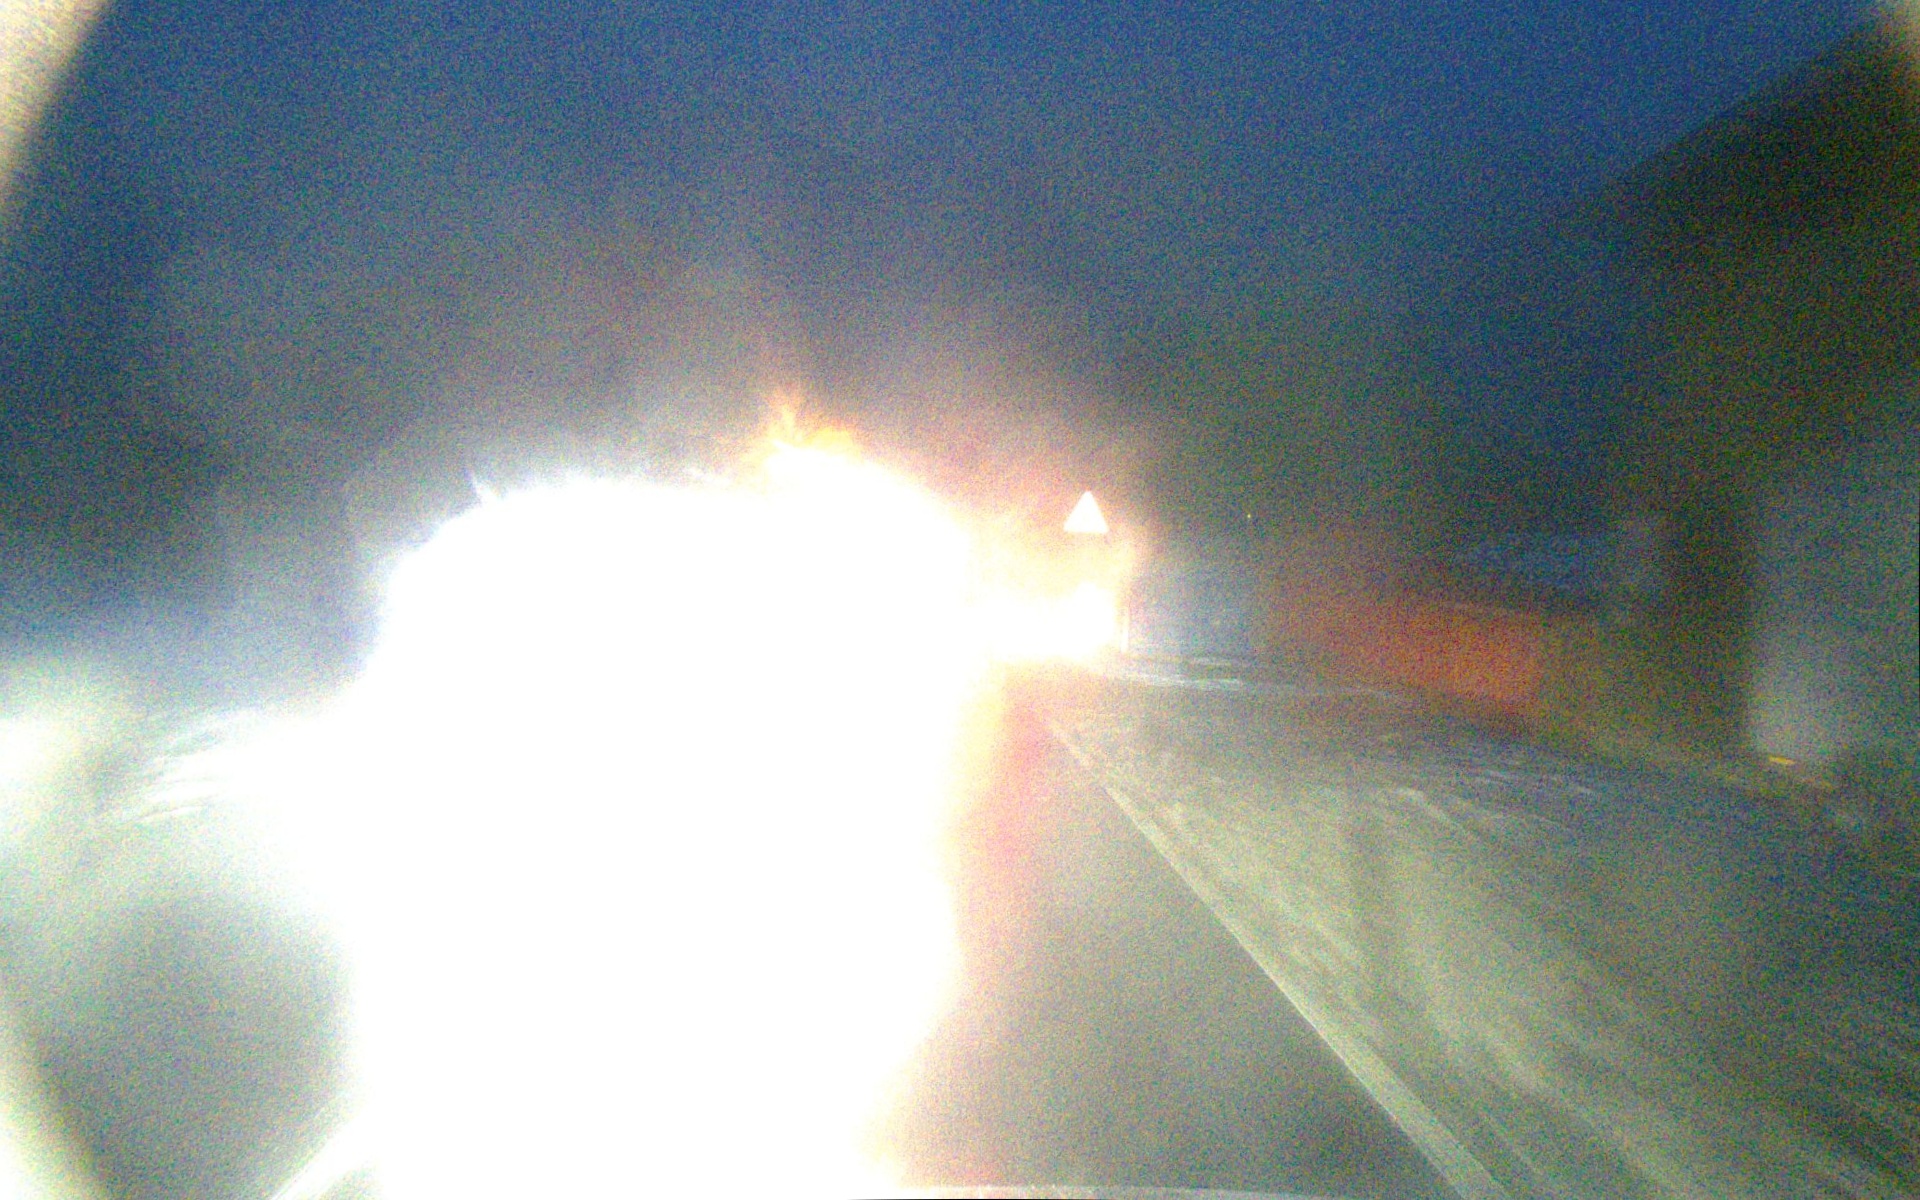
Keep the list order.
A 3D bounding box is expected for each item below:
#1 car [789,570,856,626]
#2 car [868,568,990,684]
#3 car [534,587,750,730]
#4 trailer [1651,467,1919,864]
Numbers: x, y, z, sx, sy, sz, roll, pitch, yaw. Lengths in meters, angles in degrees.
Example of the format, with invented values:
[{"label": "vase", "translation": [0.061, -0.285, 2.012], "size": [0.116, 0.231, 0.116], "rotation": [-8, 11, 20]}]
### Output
[{"label": "car", "translation": [-4.185, -0.066, 50.905], "size": [1.765, 1.535, 3.614], "rotation": [3, 0, -2]}, {"label": "car", "translation": [-0.519, 0.378, 26.701], "size": [1.765, 1.657, 3.614], "rotation": [3, 0, -2]}, {"label": "car", "translation": [-3.653, 0.616, 19.849], "size": [1.954, 1.485, 4.894], "rotation": [1, 0, -4]}, {"label": "trailer", "translation": [6.576, 0.440, 11.051], "size": [1.598, 2.405, 4.650], "rotation": [4, 0, -3]}]
